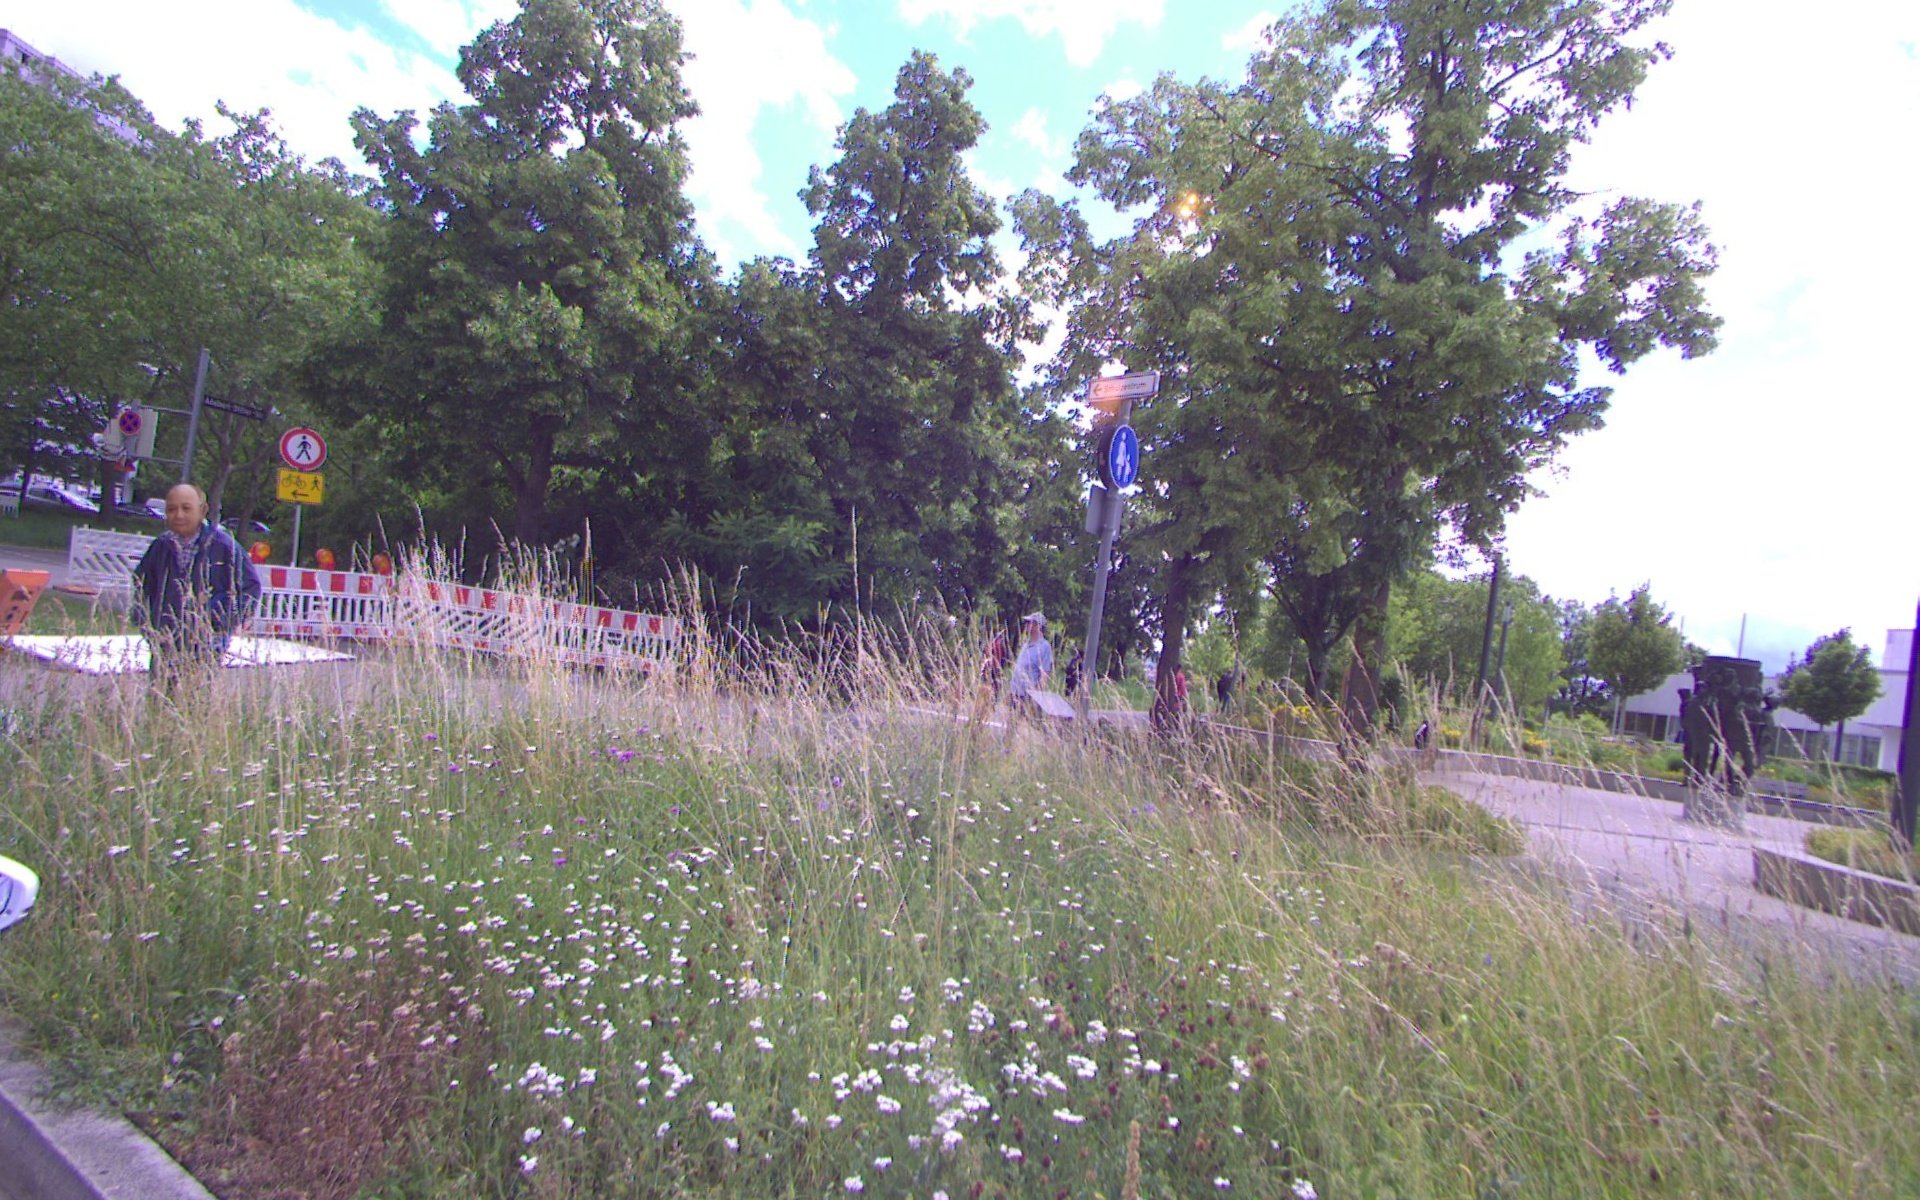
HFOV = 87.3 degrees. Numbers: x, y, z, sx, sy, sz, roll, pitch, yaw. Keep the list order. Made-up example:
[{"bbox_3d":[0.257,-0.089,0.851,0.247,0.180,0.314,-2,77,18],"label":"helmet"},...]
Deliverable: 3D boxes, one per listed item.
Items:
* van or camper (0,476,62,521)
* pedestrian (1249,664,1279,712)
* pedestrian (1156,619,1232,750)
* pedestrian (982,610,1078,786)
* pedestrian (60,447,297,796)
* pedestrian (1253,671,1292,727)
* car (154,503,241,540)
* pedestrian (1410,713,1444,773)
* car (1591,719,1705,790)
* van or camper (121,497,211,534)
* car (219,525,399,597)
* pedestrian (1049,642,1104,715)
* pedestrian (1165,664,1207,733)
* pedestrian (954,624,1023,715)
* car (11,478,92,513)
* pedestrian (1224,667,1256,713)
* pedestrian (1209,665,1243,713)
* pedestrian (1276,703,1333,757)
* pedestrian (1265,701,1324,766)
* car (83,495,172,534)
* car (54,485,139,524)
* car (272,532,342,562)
[{"bbox_3d":[-44.306,-4.844,46.495,3.925,1.704,1.847,8,-1,4],"label":"van or camper"},{"bbox_3d":[13.911,4.000,46.064,1.026,2.037,1.099,8,-1,19],"label":"pedestrian"},{"bbox_3d":[3.271,1.172,14.057,0.685,1.715,0.651,7,0,28],"label":"pedestrian"},{"bbox_3d":[0.758,1.056,11.109,0.682,1.812,0.727,8,0,-9],"label":"pedestrian"},{"bbox_3d":[-4.375,0.122,5.723,0.720,1.761,0.949,8,-1,-28],"label":"pedestrian"},{"bbox_3d":[10.235,3.231,32.970,0.974,1.671,0.871,7,0,21],"label":"pedestrian"},{"bbox_3d":[-44.632,-4.595,58.894,3.820,1.482,1.486,7,-1,1],"label":"car"},{"bbox_3d":[10.763,3.288,23.177,0.560,1.277,0.582,7,-1,29],"label":"pedestrian"},{"bbox_3d":[22.784,5.077,33.466,1.606,1.786,3.509,7,-2,9],"label":"car"},{"bbox_3d":[-44.552,-4.730,56.488,3.706,1.372,1.519,8,-2,-1],"label":"van or camper"},{"bbox_3d":[-20.719,-1.211,32.200,1.744,1.604,4.405,6,-2,33],"label":"car"},{"bbox_3d":[2.925,1.952,25.233,0.974,1.671,0.871,7,0,21],"label":"pedestrian"},{"bbox_3d":[5.383,2.339,23.940,0.624,1.519,0.704,7,0,29],"label":"pedestrian"},{"bbox_3d":[0.586,1.400,20.342,0.974,1.671,0.871,7,0,21],"label":"pedestrian"},{"bbox_3d":[-54.438,-6.246,60.325,3.345,1.420,1.486,7,-2,1],"label":"car"},{"bbox_3d":[11.327,3.634,40.704,0.974,1.671,0.871,7,0,21],"label":"pedestrian"},{"bbox_3d":[10.064,3.363,38.082,0.974,1.671,0.871,7,0,21],"label":"pedestrian"},{"bbox_3d":[7.127,2.690,20.820,0.703,0.959,0.747,8,-1,-21],"label":"pedestrian"},{"bbox_3d":[5.217,2.066,15.687,0.685,0.874,0.651,7,0,28],"label":"pedestrian"},{"bbox_3d":[-43.769,-4.491,52.936,3.345,1.420,1.486,7,-2,2],"label":"car"},{"bbox_3d":[-54.457,-5.988,63.458,3.751,1.653,1.674,9,-1,1],"label":"car"},{"bbox_3d":[-45.221,-3.656,69.695,3.674,1.517,1.736,7,-2,5],"label":"car"}]
